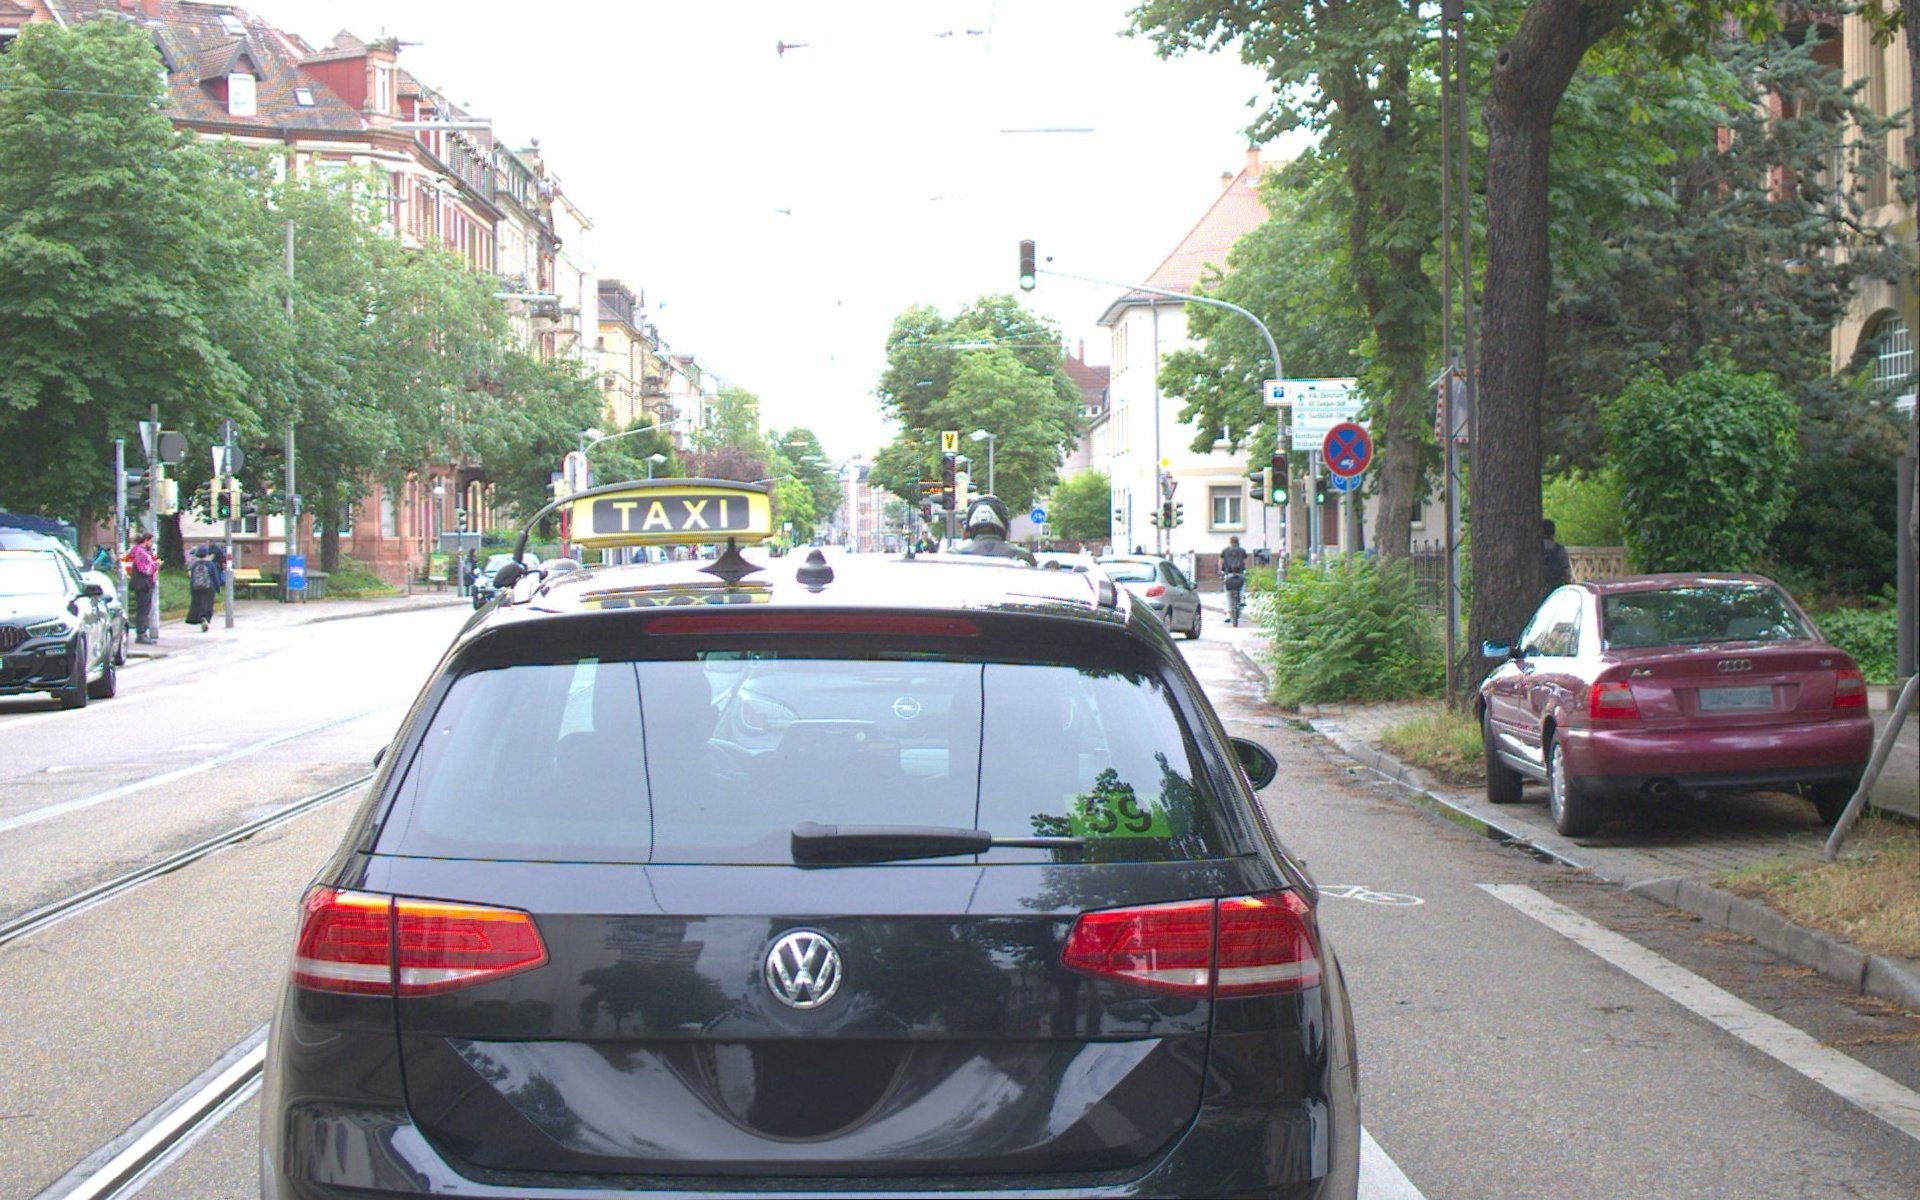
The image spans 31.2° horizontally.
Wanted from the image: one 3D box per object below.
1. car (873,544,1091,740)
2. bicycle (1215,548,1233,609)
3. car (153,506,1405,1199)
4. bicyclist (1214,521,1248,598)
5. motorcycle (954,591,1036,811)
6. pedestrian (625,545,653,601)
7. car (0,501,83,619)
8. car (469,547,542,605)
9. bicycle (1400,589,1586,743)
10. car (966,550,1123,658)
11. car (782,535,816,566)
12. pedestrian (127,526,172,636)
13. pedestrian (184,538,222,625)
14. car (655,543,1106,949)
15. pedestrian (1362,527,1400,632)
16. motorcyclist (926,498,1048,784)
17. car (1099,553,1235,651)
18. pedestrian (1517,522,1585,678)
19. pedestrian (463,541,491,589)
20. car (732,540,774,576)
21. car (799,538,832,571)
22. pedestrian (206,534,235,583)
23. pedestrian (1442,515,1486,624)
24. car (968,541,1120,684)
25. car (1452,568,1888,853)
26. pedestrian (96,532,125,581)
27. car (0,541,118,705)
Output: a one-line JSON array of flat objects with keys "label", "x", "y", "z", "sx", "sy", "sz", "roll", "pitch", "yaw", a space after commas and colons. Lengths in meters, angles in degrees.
[{"label": "car", "x": 0.152, "y": 0.305, "z": 29.304, "sx": 1.723, "sy": 1.541, "sz": 4.000, "roll": 0, "pitch": 1, "yaw": -1}, {"label": "bicycle", "x": 5.386, "y": -0.452, "z": 70.225, "sx": 0.297, "sy": 1.219, "sz": 1.430, "roll": 0, "pitch": 1, "yaw": 7}, {"label": "car", "x": -0.271, "y": 0.607, "z": 6.747, "sx": 1.723, "sy": 1.541, "sz": 4.000, "roll": 0, "pitch": 1, "yaw": -1}, {"label": "bicyclist", "x": 5.545, "y": -0.835, "z": 70.319, "sx": 0.651, "sy": 1.563, "sz": 0.695, "roll": 0, "pitch": 1, "yaw": 7}, {"label": "motorcycle", "x": 0.198, "y": 0.576, "z": 20.636, "sx": 0.446, "sy": 1.231, "sz": 1.907, "roll": 0, "pitch": 1, "yaw": -1}, {"label": "pedestrian", "x": -8.848, "y": -0.747, "z": 94.806, "sx": 0.714, "sy": 1.515, "sz": 0.590, "roll": 0, "pitch": 1, "yaw": 1}, {"label": "car", "x": -20.951, "y": -0.852, "z": 73.046, "sx": 2.180, "sy": 2.409, "sz": 5.377, "roll": -1, "pitch": 1, "yaw": -43}, {"label": "car", "x": -11.809, "y": -0.645, "z": 89.440, "sx": 1.608, "sy": 1.417, "sz": 3.487, "roll": -1, "pitch": 1, "yaw": -3}, {"label": "bicycle", "x": 4.296, "y": 0.520, "z": 27.605, "sx": 0.433, "sy": 1.194, "sz": 1.899, "roll": 0, "pitch": 0, "yaw": 45}, {"label": "car", "x": 1.230, "y": 0.025, "z": 48.290, "sx": 1.892, "sy": 1.403, "sz": 3.999, "roll": -1, "pitch": 1, "yaw": 6}, {"label": "car", "x": -8.597, "y": -2.643, "z": 183.737, "sx": 1.721, "sy": 1.617, "sz": 3.864, "roll": -1, "pitch": 1, "yaw": -1}, {"label": "pedestrian", "x": -13.645, "y": -0.319, "z": 57.867, "sx": 0.623, "sy": 1.836, "sz": 0.610, "roll": 0, "pitch": 1, "yaw": -3}, {"label": "pedestrian", "x": -14.503, "y": -0.355, "z": 65.879, "sx": 0.589, "sy": 1.657, "sz": 0.839, "roll": 0, "pitch": 1, "yaw": -4}, {"label": "car", "x": -0.325, "y": 0.528, "z": 15.179, "sx": 1.723, "sy": 1.541, "sz": 4.000, "roll": 0, "pitch": 1, "yaw": -1}, {"label": "pedestrian", "x": 7.495, "y": -0.370, "z": 61.258, "sx": 0.514, "sy": 1.824, "sz": 0.417, "roll": -3, "pitch": 1, "yaw": 16}, {"label": "motorcyclist", "x": 0.156, "y": 0.235, "z": 20.717, "sx": 0.703, "sy": 1.686, "sz": 0.804, "roll": 0, "pitch": 1, "yaw": -1}, {"label": "car", "x": 3.459, "y": 0.024, "z": 58.173, "sx": 1.993, "sy": 1.572, "sz": 4.000, "roll": 1, "pitch": 0, "yaw": -1}, {"label": "pedestrian", "x": 6.914, "y": -0.007, "z": 40.235, "sx": 0.632, "sy": 1.808, "sz": 0.726, "roll": 0, "pitch": 1, "yaw": -3}, {"label": "pedestrian", "x": -15.331, "y": -1.127, "z": 109.136, "sx": 0.589, "sy": 1.515, "sz": 0.647, "roll": 0, "pitch": 1, "yaw": 35}, {"label": "car", "x": -9.384, "y": -1.919, "z": 156.030, "sx": 1.721, "sy": 1.617, "sz": 3.864, "roll": -1, "pitch": 1, "yaw": -1}, {"label": "car", "x": -9.042, "y": -2.838, "z": 215.952, "sx": 1.993, "sy": 2.007, "sz": 4.000, "roll": 1, "pitch": 0, "yaw": -2}, {"label": "pedestrian", "x": -23.162, "y": -1.295, "z": 107.731, "sx": 0.589, "sy": 1.515, "sz": 0.647, "roll": 0, "pitch": 1, "yaw": 35}, {"label": "pedestrian", "x": 8.588, "y": -0.527, "z": 58.612, "sx": 0.585, "sy": 1.824, "sz": 0.604, "roll": -3, "pitch": 1, "yaw": 3}, {"label": "car", "x": 0.928, "y": 0.126, "z": 39.566, "sx": 1.606, "sy": 1.550, "sz": 3.578, "roll": 1, "pitch": 0, "yaw": -1}, {"label": "car", "x": 4.036, "y": 0.561, "z": 20.189, "sx": 1.602, "sy": 1.394, "sz": 4.227, "roll": -2, "pitch": 1, "yaw": -1}, {"label": "pedestrian", "x": -26.482, "y": -1.360, "z": 107.202, "sx": 0.589, "sy": 1.515, "sz": 0.647, "roll": 0, "pitch": 1, "yaw": 35}, {"label": "car", "x": -10.184, "y": 0.228, "z": 36.635, "sx": 1.882, "sy": 1.606, "sz": 4.889, "roll": -3, "pitch": 1, "yaw": -9}]
